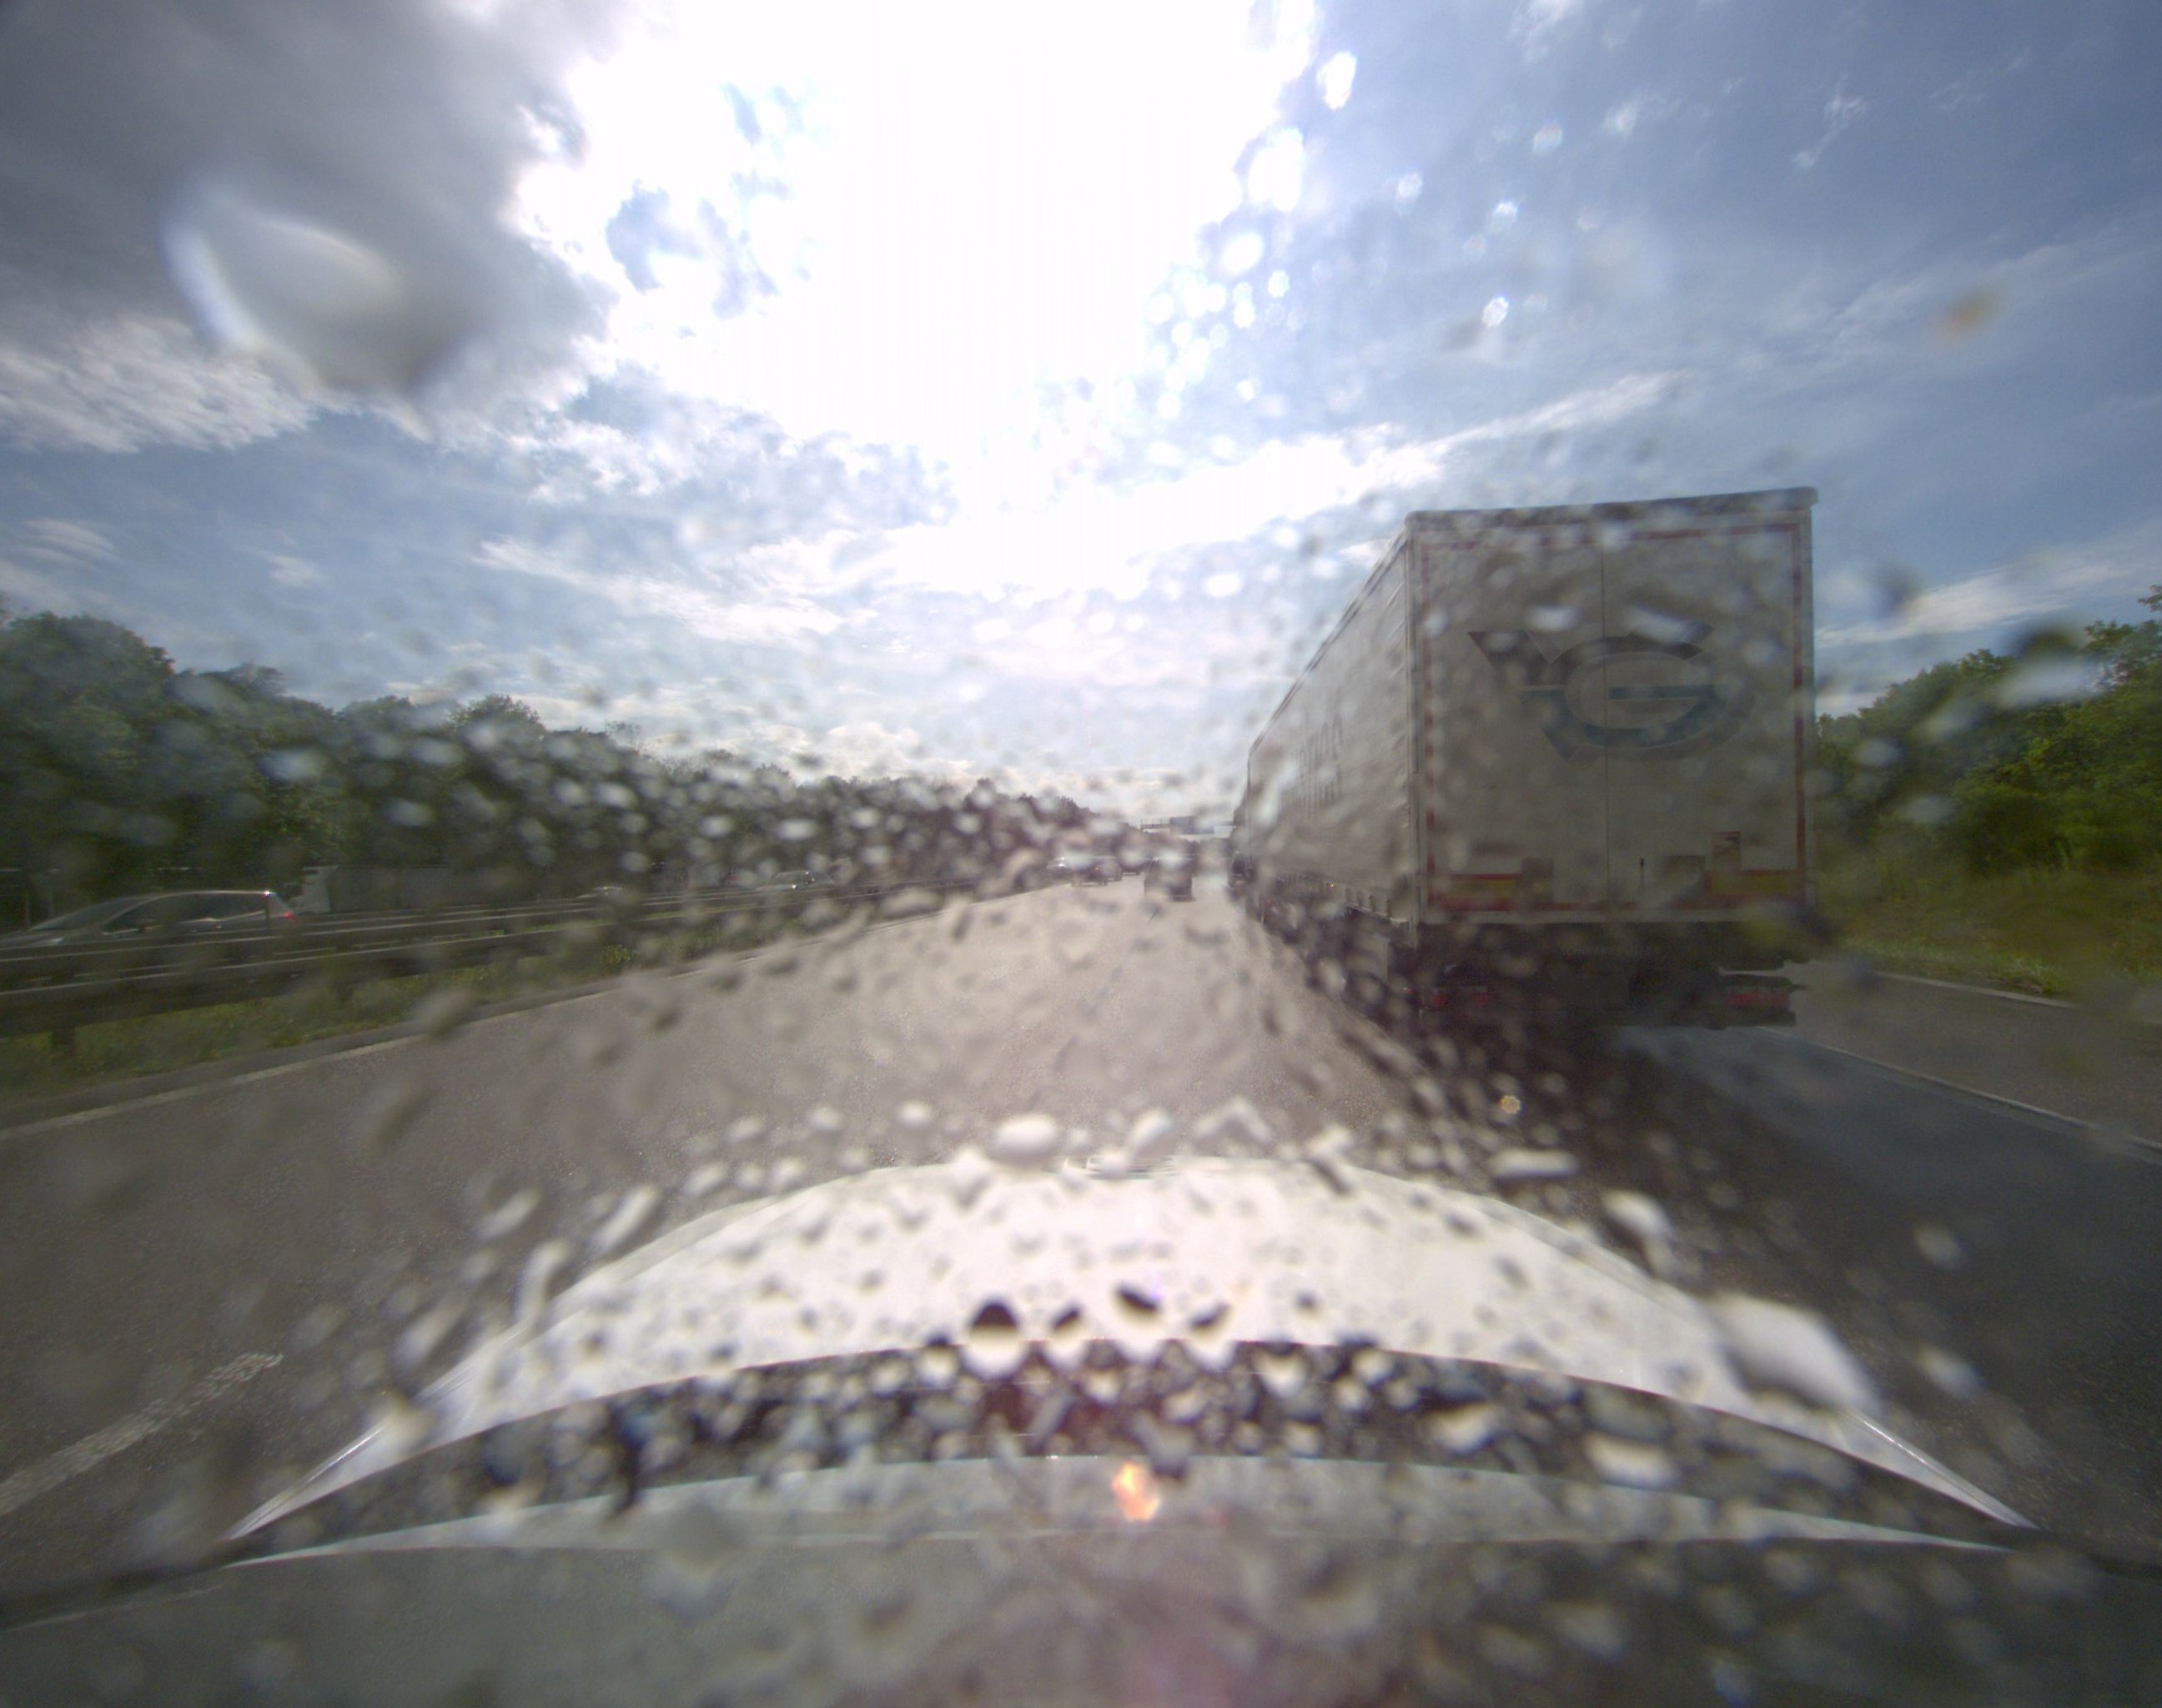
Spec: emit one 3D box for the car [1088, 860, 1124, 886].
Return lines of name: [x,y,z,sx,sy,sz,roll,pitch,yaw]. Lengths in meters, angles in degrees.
car: [1.765,1.293,55.914,1.898,1.636,4.627,-2,-1,8]

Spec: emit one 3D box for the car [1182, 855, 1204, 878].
car: [9.035,1.044,65.889,1.684,1.805,3.982,0,-1,6]

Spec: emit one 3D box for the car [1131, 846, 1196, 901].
car: [3.208,0.732,31.361,2.262,1.955,4.830,0,-1,6]

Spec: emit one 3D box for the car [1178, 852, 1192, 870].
car: [15.841,1.047,124.255,1.982,2.746,5.271,0,-1,8]

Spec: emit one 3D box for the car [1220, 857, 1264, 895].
car: [8.530,1.154,43.451,1.931,1.919,5.663,0,-1,7]

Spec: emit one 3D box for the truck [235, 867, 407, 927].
truck: [-49.295,2.684,53.202,3.766,3.590,7.371,0,-1,8]

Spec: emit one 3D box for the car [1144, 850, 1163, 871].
car: [9.167,0.844,102.475,1.982,2.616,5.271,0,-1,8]

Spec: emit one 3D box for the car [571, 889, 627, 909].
car: [-44.552,4.148,75.350,2.046,1.718,4.380,0,-1,10]

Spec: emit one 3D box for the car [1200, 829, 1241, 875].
car: [18.877,-0.155,111.733,4.382,5.831,16.844,0,-1,6]

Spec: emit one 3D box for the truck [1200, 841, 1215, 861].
truck: [24.462,-0.550,157.330,2.759,3.632,5.930,0,-1,8]

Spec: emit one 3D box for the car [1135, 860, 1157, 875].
car: [7.088,1.455,88.107,1.982,1.565,4.767,0,-1,8]

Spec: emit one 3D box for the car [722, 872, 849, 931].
car: [-10.387,1.614,29.076,2.288,1.891,4.789,0,-1,7]

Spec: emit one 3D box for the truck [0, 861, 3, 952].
truck: [-52.736,2.374,34.004,3.766,4.234,8.436,0,-1,8]

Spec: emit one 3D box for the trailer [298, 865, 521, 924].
trailer: [-48.300,2.766,59.641,3.767,3.649,13.377,-2,-1,9]

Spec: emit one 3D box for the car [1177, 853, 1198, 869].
car: [10.361,0.728,79.390,1.855,1.516,3.982,0,-1,6]

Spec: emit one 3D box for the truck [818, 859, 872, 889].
truck: [-33.036,2.813,114.474,3.755,4.117,7.082,-1,-1,21]

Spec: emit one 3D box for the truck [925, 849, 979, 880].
truck: [-11.606,0.984,73.833,2.826,2.682,7.207,0,-1,8]

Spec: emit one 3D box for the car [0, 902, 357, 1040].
car: [-16.769,1.935,14.969,2.288,1.891,4.789,0,-1,7]

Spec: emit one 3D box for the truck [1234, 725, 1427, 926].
truck: [5.458,-0.527,19.144,3.267,3.891,6.408,0,-1,7]

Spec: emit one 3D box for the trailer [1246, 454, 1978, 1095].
trailer: [4.668,-0.439,12.145,3.266,3.899,14.155,0,0,7]

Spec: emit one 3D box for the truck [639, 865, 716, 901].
truck: [-42.091,2.970,85.158,3.761,3.660,6.729,0,-1,13]

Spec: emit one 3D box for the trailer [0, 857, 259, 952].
trailer: [-51.641,2.421,41.638,3.767,4.406,13.834,-2,-1,9]

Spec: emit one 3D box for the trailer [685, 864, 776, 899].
trailer: [-39.990,3.044,93.440,3.761,3.649,10.539,-2,-1,15]

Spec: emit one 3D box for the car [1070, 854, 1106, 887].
car: [0.434,0.942,46.329,1.684,1.805,3.982,0,-1,6]

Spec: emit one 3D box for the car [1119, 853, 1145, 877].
car: [4.683,1.022,74.662,1.967,2.054,4.767,0,-1,8]

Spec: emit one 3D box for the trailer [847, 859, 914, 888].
trailer: [-29.947,2.926,122.367,3.755,4.117,11.786,-1,-1,21]
